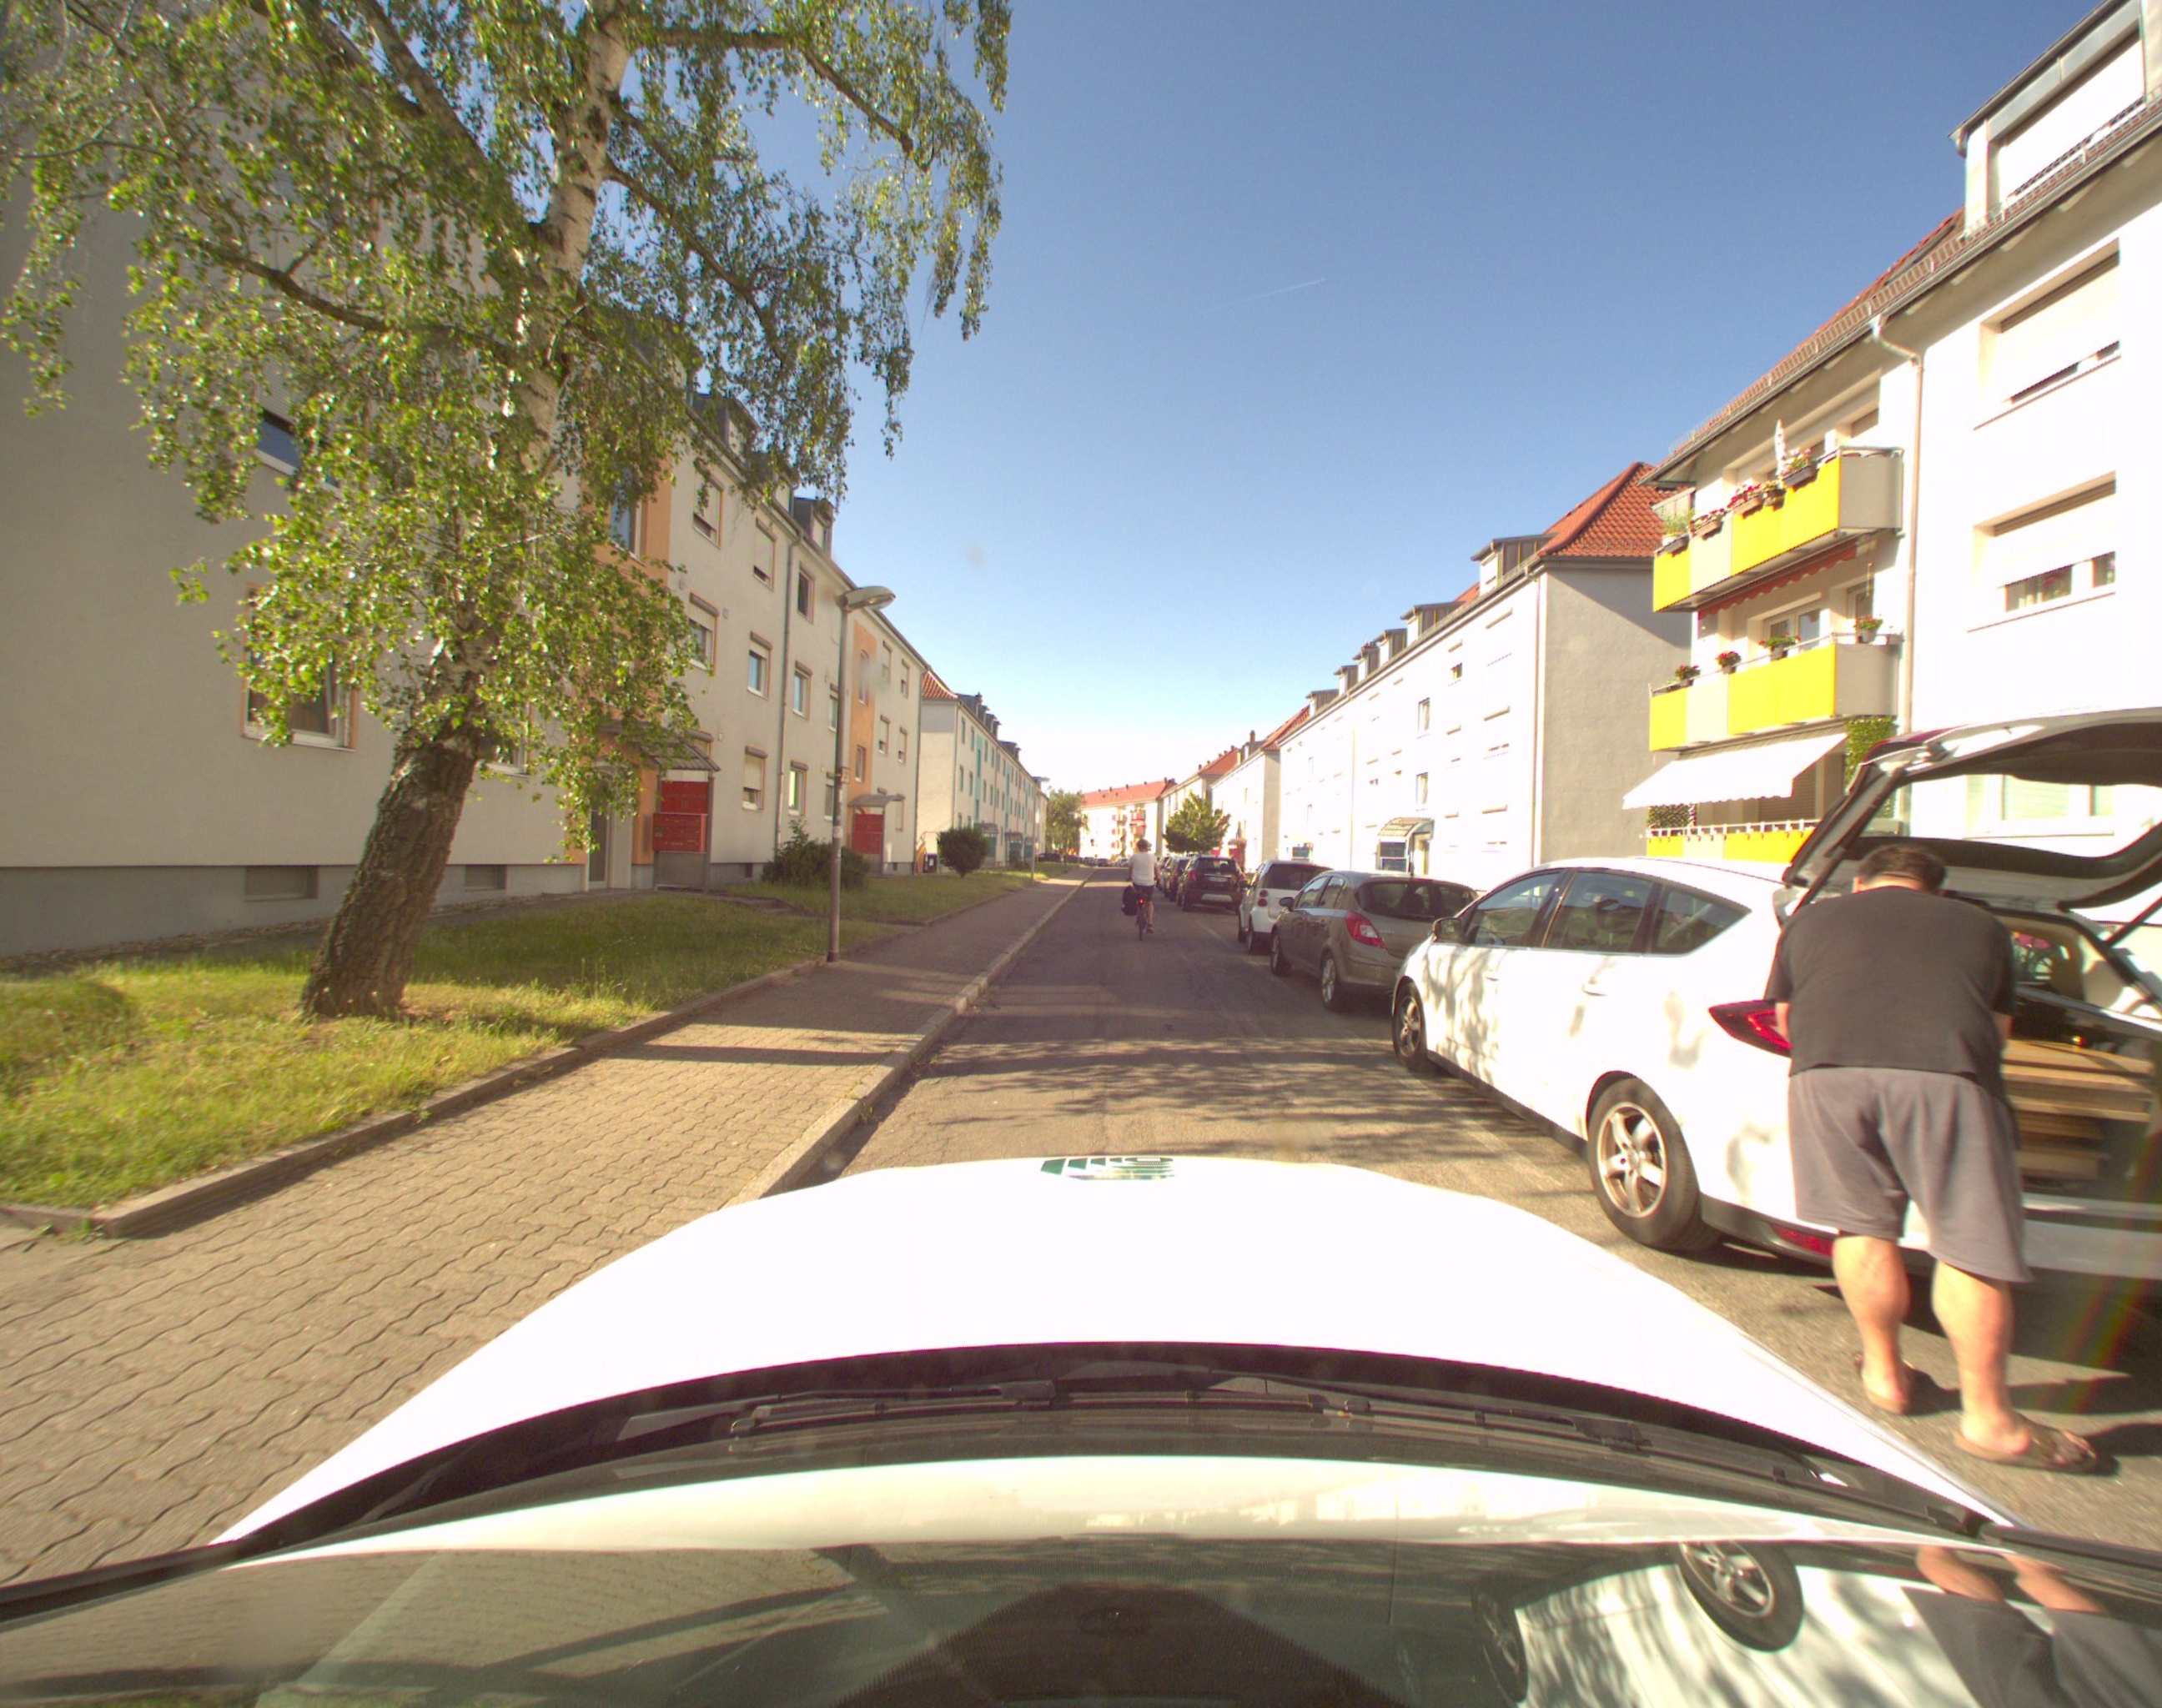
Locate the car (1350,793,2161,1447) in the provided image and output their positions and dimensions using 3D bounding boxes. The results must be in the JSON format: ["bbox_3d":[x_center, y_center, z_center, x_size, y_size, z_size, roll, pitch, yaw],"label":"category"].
[{"bbox_3d":[3.199,0.717,4.545,1.985,1.613,5.000,4,0,4],"label":"car"}]

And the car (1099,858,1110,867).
[{"bbox_3d":[3.528,1.260,121.187,1.466,1.335,3.138,-1,0,-2],"label":"car"}]

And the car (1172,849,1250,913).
[{"bbox_3d":[3.771,0.733,24.318,1.776,1.648,4.472,3,0,3],"label":"car"}]

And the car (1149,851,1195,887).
[{"bbox_3d":[4.528,0.707,41.069,1.745,1.617,4.451,4,0,0],"label":"car"}]

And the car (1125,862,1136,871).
[{"bbox_3d":[7.965,1.940,130.613,1.464,1.335,3.140,3,0,0],"label":"car"}]

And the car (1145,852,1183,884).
[{"bbox_3d":[4.665,0.744,46.276,1.706,1.595,4.399,5,0,2],"label":"car"}]

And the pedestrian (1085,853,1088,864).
[{"bbox_3d":[0.847,0.657,117.270,0.432,1.574,0.543,0,0,2],"label":"pedestrian"}]

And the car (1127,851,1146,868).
[{"bbox_3d":[5.990,0.601,88.035,1.669,1.738,3.942,3,0,0],"label":"car"}]

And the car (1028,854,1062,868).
[{"bbox_3d":[-4.467,0.902,102.533,4.220,1.638,1.581,2,0,-2],"label":"car"}]

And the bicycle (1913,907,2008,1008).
[{"bbox_3d":[9.490,1.108,8.795,0.737,1.047,0.239,1,0,4],"label":"bicycle"}]

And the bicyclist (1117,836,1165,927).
[{"bbox_3d":[1.113,0.505,15.221,0.806,1.643,0.899,1,0,0],"label":"bicyclist"}]

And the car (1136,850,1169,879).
[{"bbox_3d":[4.685,0.680,53.945,1.855,1.668,4.129,4,0,2],"label":"car"}]

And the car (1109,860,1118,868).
[{"bbox_3d":[5.963,1.849,150.251,1.464,1.516,3.077,3,0,0],"label":"car"}]

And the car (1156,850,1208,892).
[{"bbox_3d":[4.268,0.683,35.019,1.684,1.575,4.435,3,0,1],"label":"car"}]

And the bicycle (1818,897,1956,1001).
[{"bbox_3d":[9.550,1.092,9.703,0.401,1.087,1.300,1,0,3],"label":"bicycle"}]

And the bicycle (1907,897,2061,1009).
[{"bbox_3d":[10.439,1.102,9.464,0.401,1.132,1.274,2,0,3],"label":"bicycle"}]

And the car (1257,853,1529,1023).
[{"bbox_3d":[3.373,0.789,9.664,1.687,1.491,3.985,4,0,1],"label":"car"}]

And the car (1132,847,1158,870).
[{"bbox_3d":[5.022,0.319,64.530,1.695,1.671,4.379,4,0,0],"label":"car"}]

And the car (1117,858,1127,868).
[{"bbox_3d":[6.916,1.484,137.578,1.377,1.497,3.077,3,0,0],"label":"car"}]

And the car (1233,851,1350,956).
[{"bbox_3d":[3.545,0.776,14.139,1.472,1.529,2.945,4,0,6],"label":"car"}]

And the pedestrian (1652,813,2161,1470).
[{"bbox_3d":[2.362,0.693,2.408,0.736,1.575,0.880,1,0,1],"label":"pedestrian"}]

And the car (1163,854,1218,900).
[{"bbox_3d":[3.886,0.780,29.416,1.635,1.498,4.160,2,0,3],"label":"car"}]

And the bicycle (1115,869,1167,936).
[{"bbox_3d":[1.103,0.878,15.367,0.806,1.128,2.101,1,0,0],"label":"bicycle"}]
